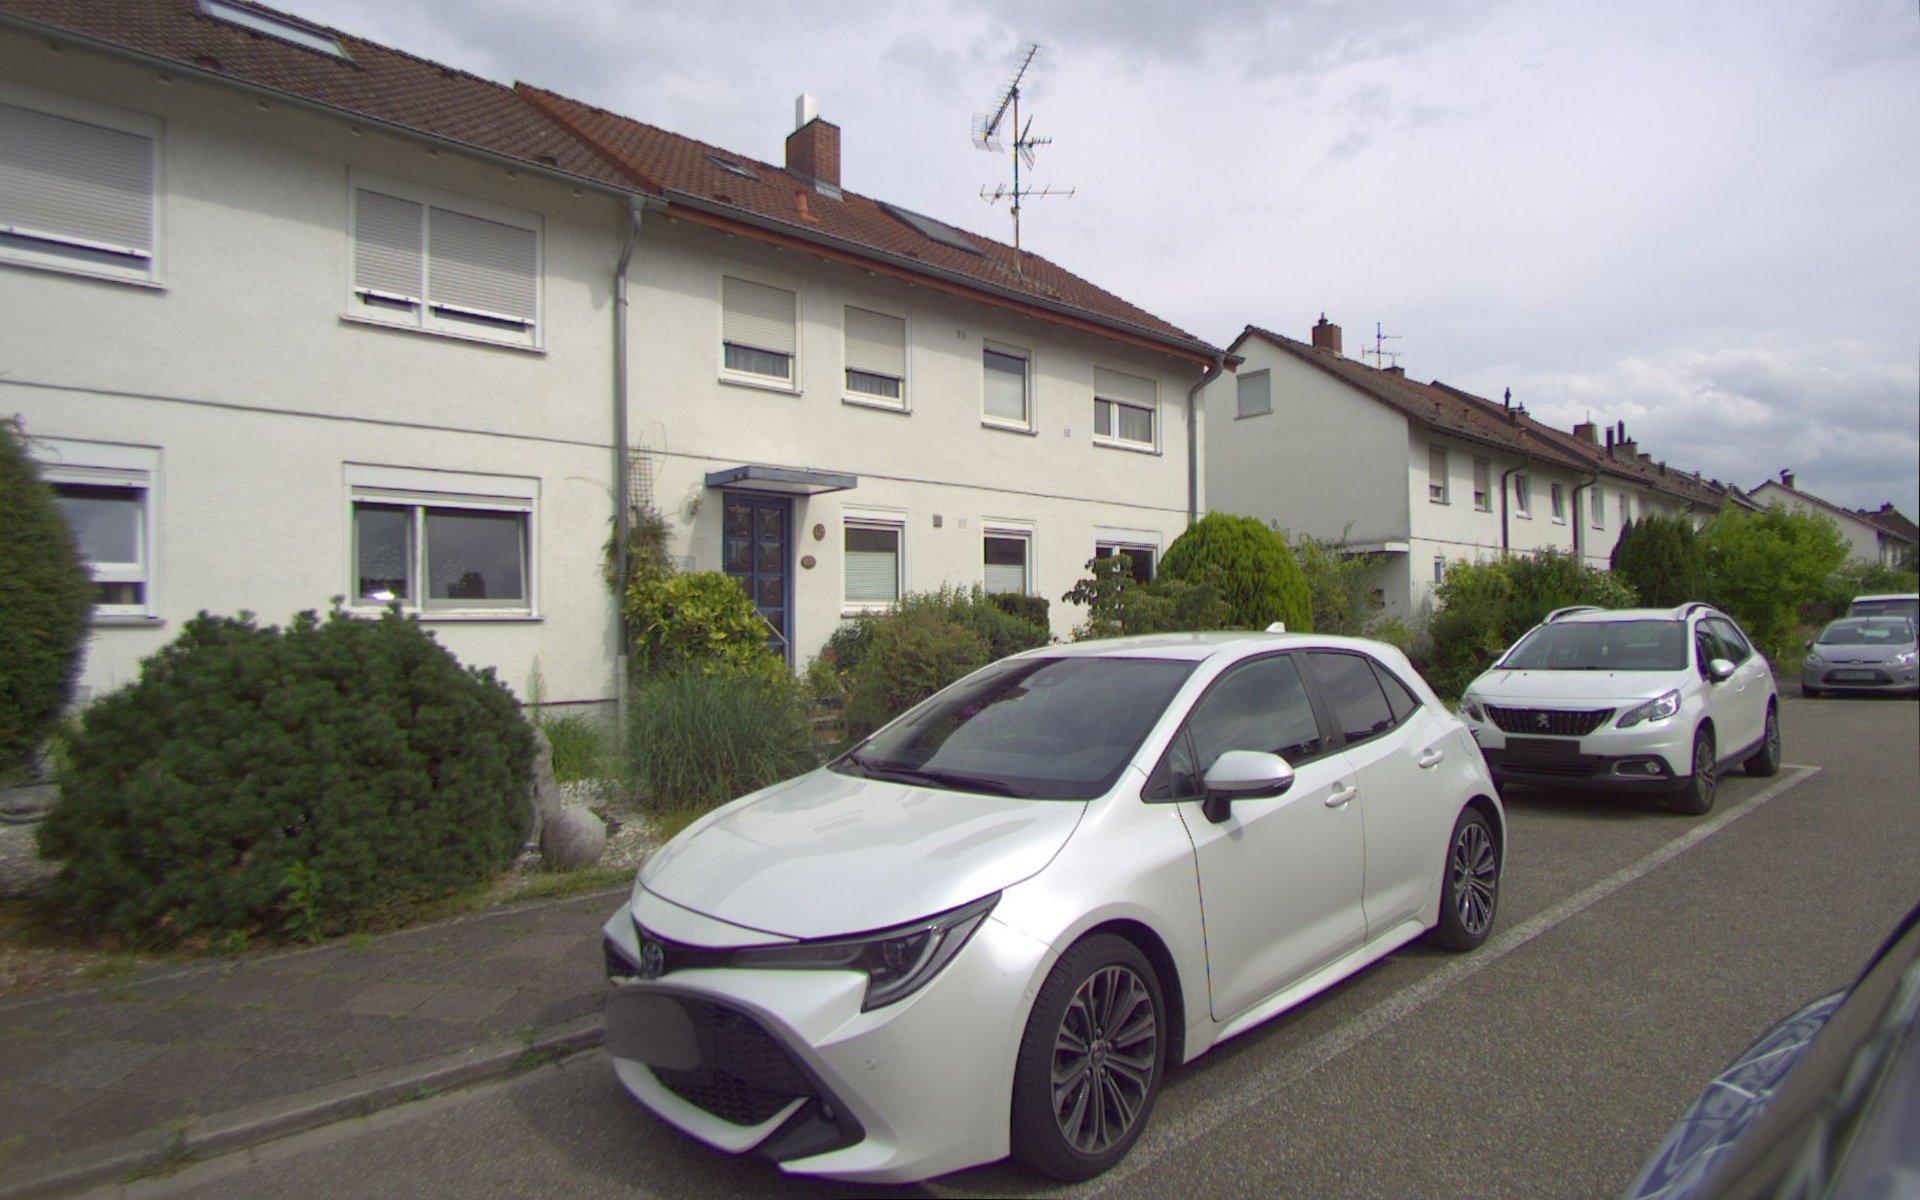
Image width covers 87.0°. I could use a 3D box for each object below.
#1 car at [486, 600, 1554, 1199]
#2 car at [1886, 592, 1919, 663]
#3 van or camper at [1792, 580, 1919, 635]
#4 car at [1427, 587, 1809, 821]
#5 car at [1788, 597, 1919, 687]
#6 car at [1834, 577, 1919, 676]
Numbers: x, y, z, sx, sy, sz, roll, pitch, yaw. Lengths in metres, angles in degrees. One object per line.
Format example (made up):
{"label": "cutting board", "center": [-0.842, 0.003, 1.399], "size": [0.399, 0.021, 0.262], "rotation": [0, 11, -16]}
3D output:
{"label": "car", "center": [0.725, 0.724, 4.211], "size": [4.559, 1.431, 1.839], "rotation": [0, -1, -44]}
{"label": "car", "center": [24.421, 0.651, 25.188], "size": [4.338, 1.672, 1.811], "rotation": [0, -1, -45]}
{"label": "van or camper", "center": [49.087, 0.397, 54.968], "size": [2.495, 2.854, 5.801], "rotation": [1, -1, -45]}
{"label": "car", "center": [5.798, 0.734, 8.738], "size": [3.904, 1.564, 1.716], "rotation": [0, -3, -41]}
{"label": "car", "center": [16.944, 0.701, 18.658], "size": [4.056, 1.478, 1.904], "rotation": [0, -1, -40]}
{"label": "car", "center": [20.677, 0.535, 22.012], "size": [4.667, 1.972, 2.022], "rotation": [0, -1, -43]}
